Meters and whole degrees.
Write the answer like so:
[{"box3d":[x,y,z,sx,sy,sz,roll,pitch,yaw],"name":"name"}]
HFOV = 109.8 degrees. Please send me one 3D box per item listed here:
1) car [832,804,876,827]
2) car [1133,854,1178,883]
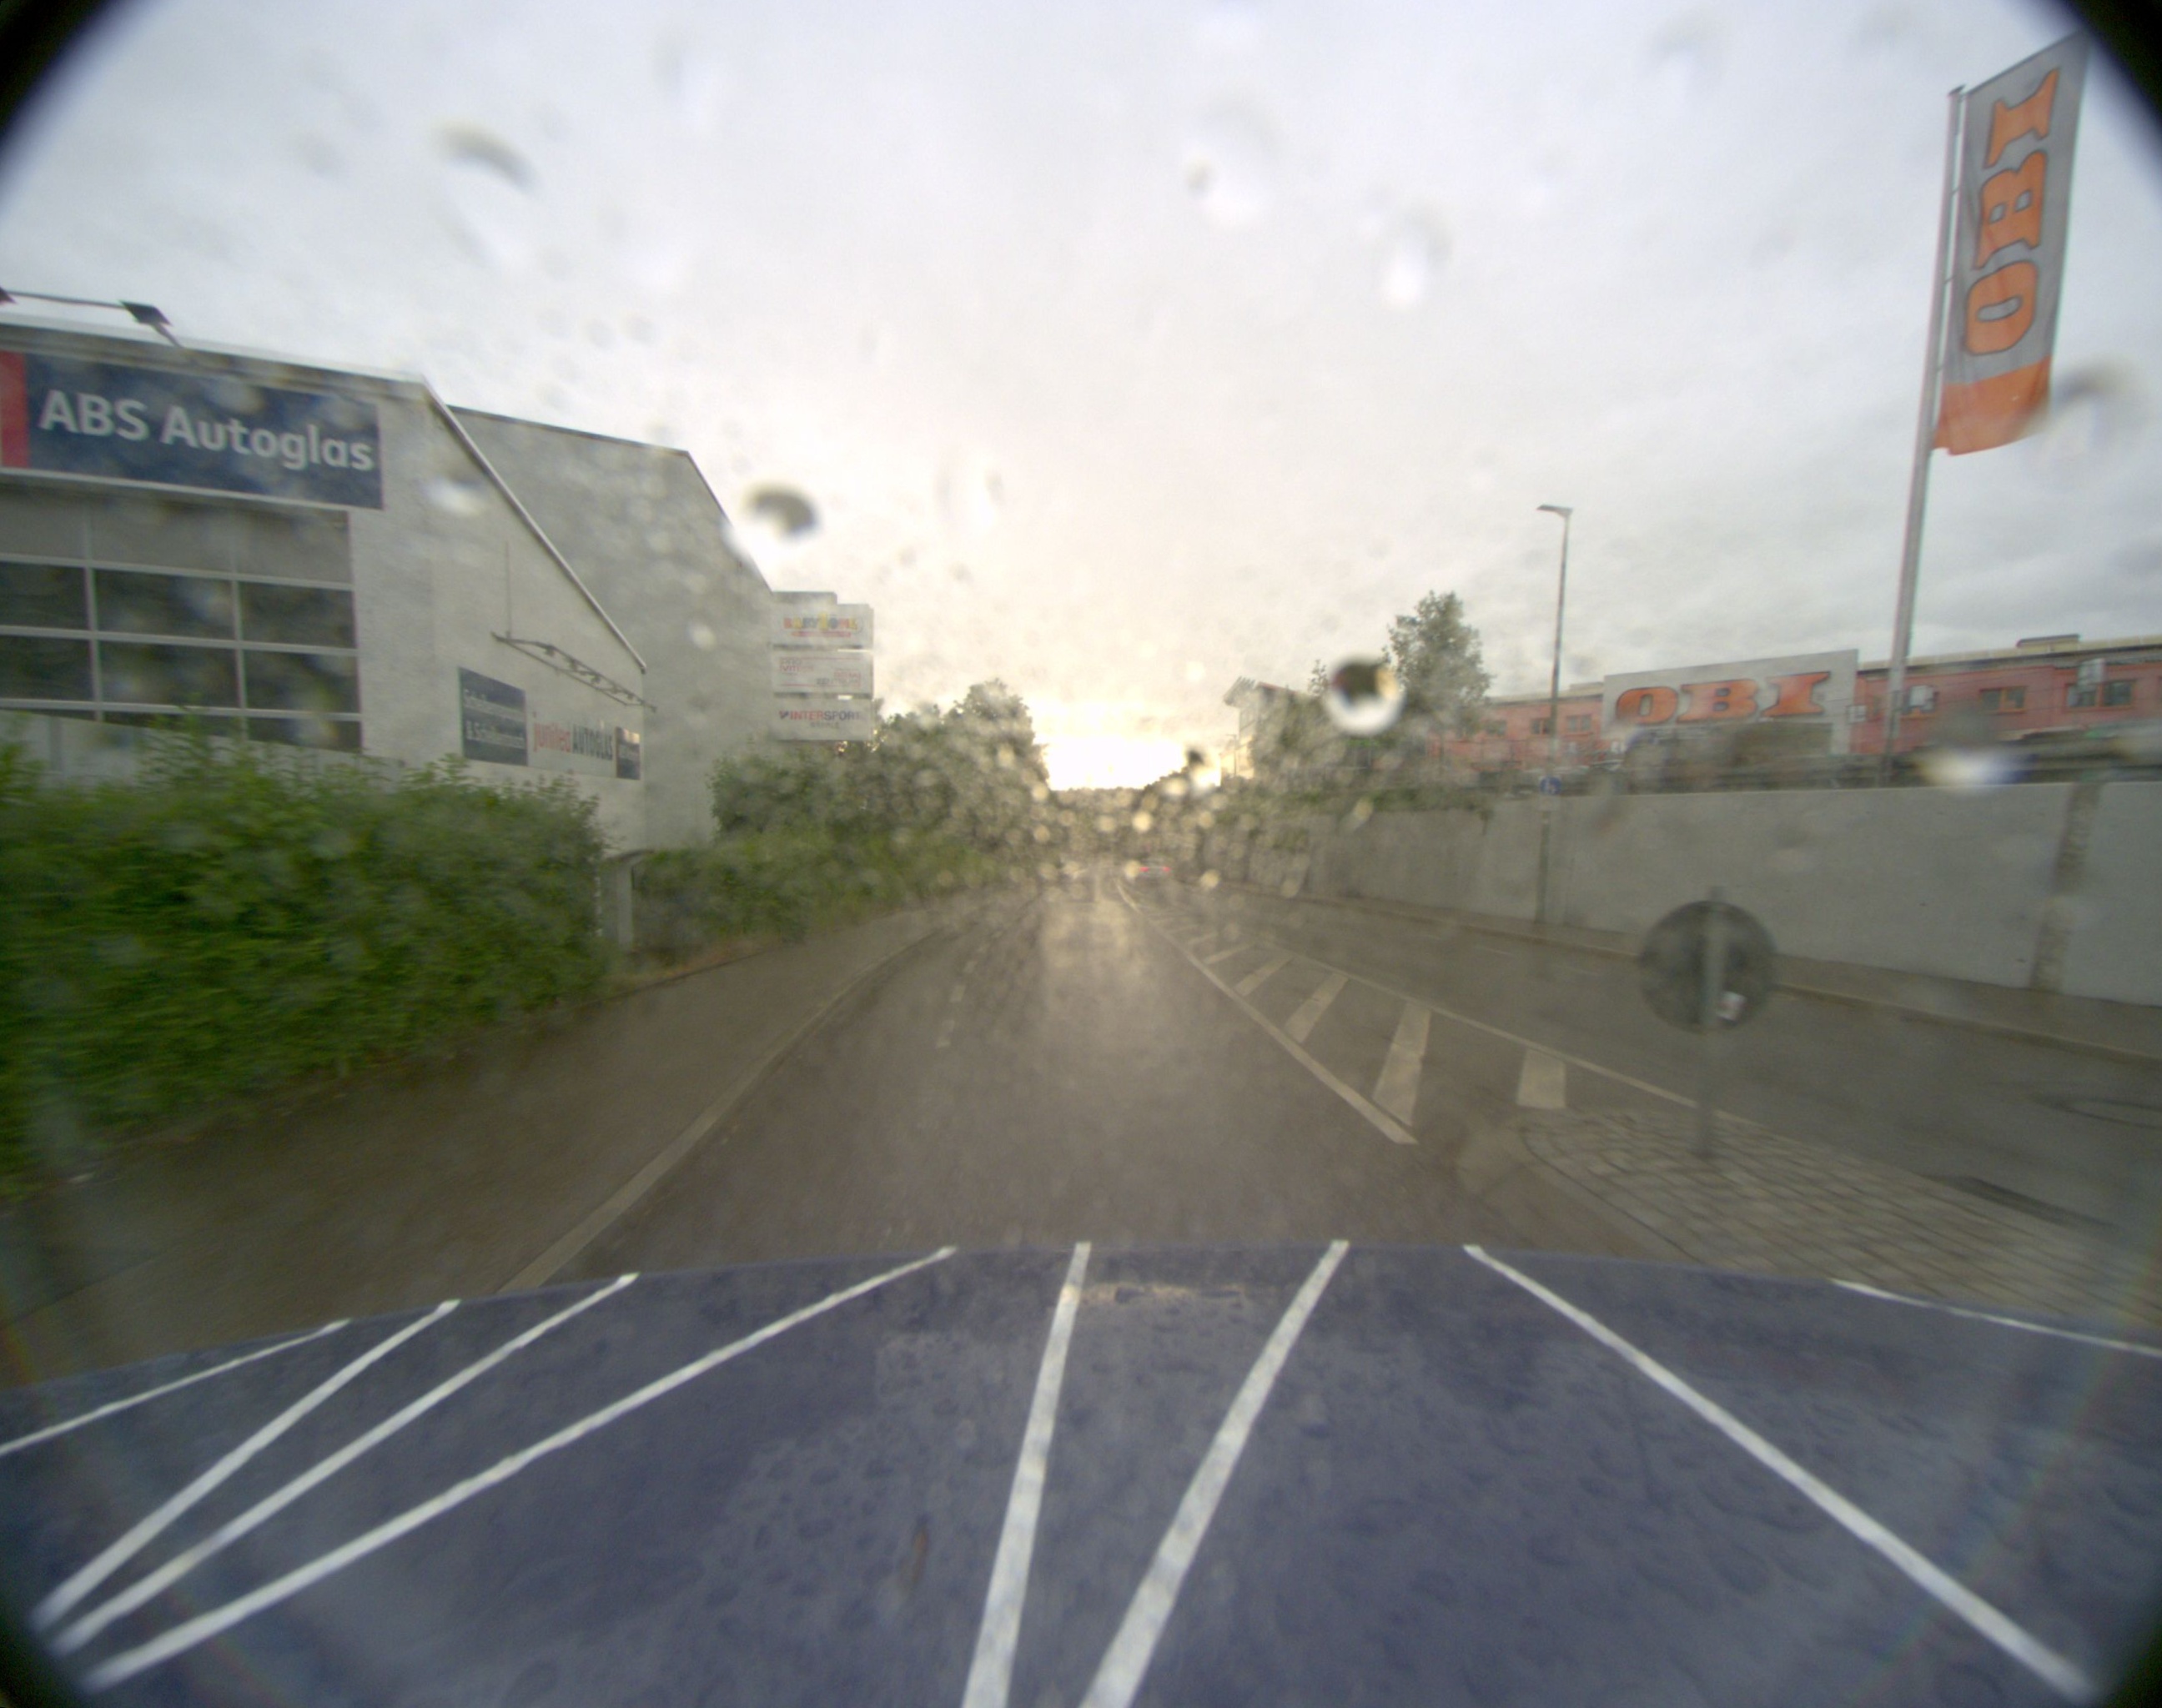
[{"box3d":[-16.765,-2.878,56.254,3.002,1.669,1.486,-1,4,-12],"name":"car"},{"box3d":[4.133,0.762,42.786,2.006,1.418,4.779,-1,1,-1],"name":"car"}]
